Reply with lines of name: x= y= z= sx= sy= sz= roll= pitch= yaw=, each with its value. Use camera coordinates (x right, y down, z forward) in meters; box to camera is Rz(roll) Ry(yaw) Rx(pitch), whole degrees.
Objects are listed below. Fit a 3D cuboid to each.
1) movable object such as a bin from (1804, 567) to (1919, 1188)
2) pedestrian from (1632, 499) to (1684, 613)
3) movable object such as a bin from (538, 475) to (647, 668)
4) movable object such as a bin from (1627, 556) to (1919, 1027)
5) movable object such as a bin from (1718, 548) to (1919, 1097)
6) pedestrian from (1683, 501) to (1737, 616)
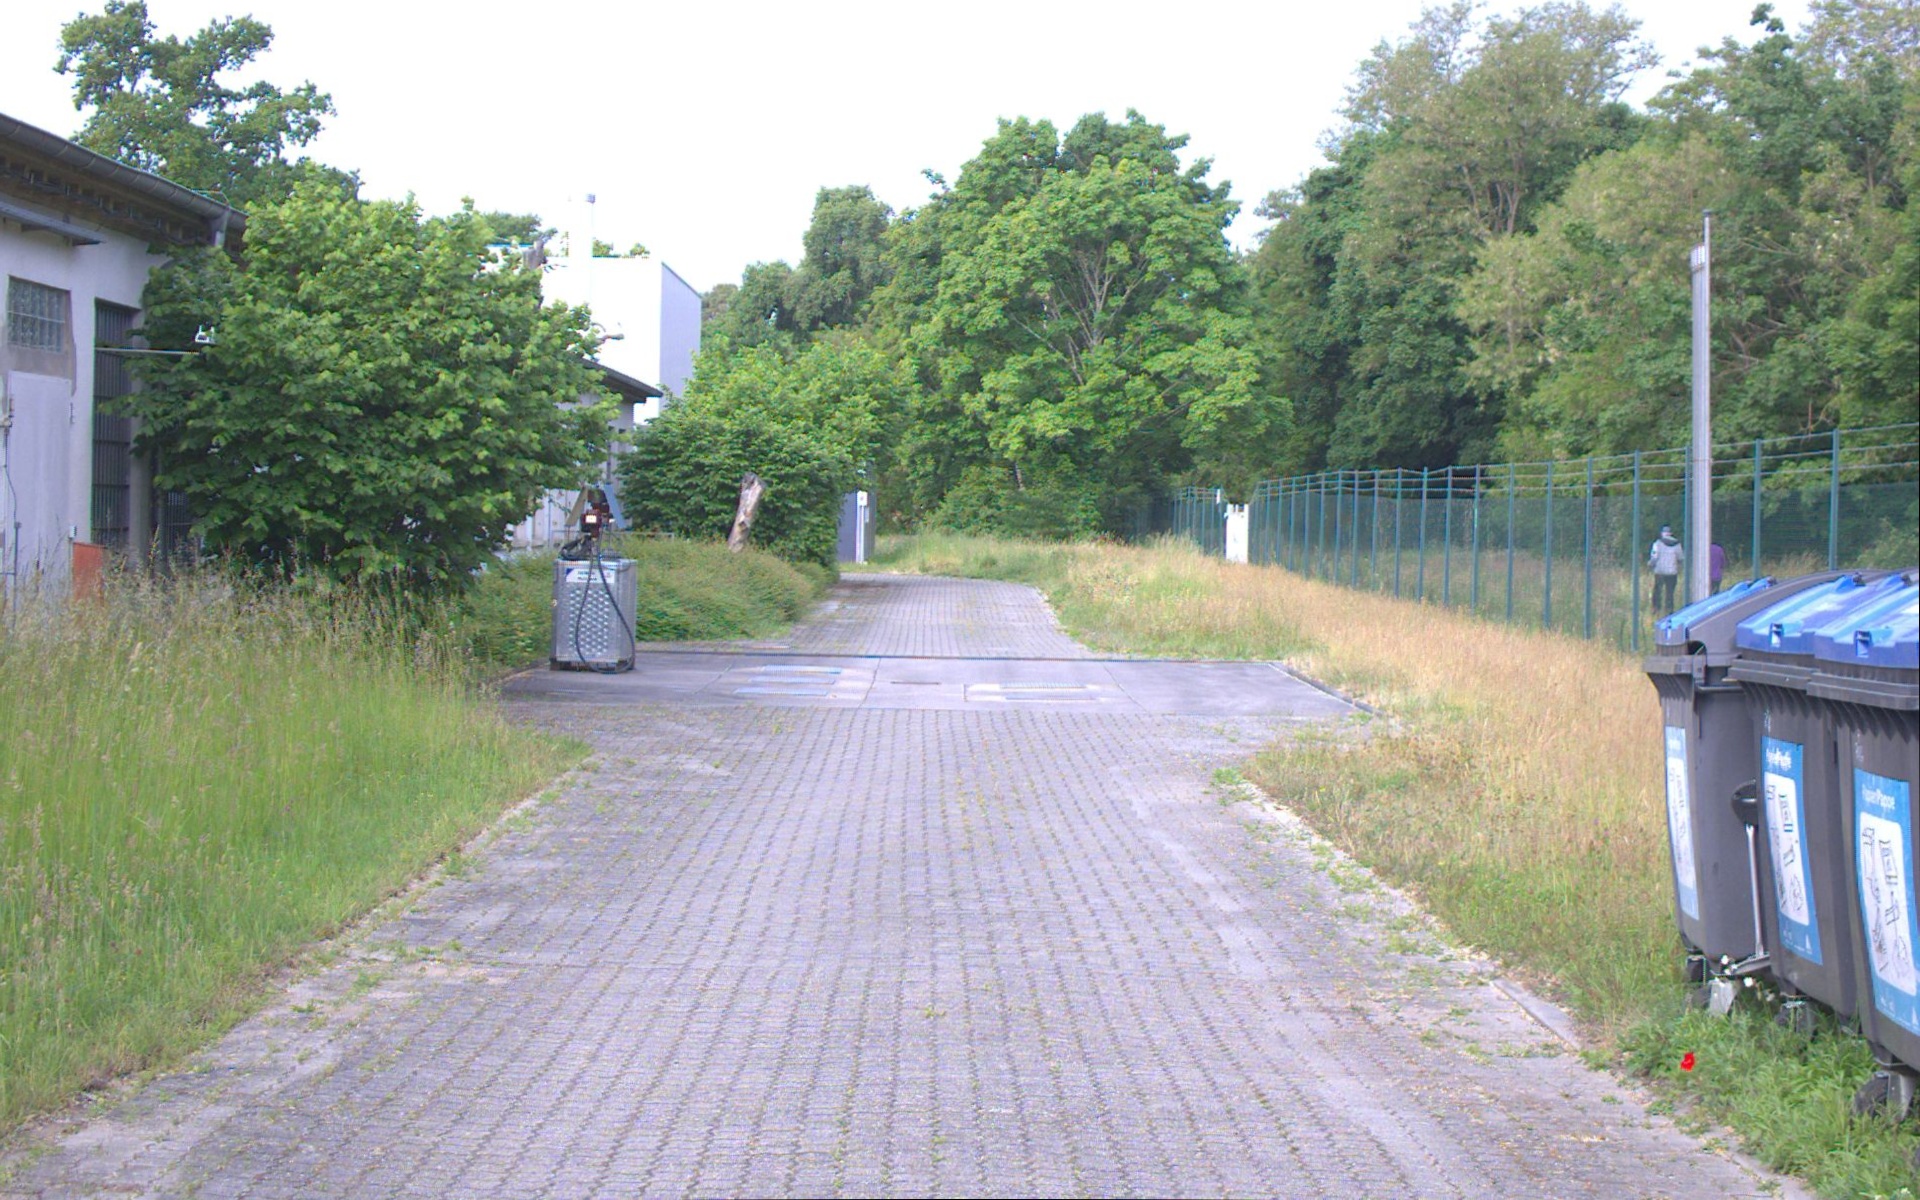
movable object such as a bin: x=2.642 y=0.599 z=7.991 sx=1.123 sy=1.317 sz=1.325 roll=1 pitch=1 yaw=6
pedestrian: x=12.370 y=-0.785 z=60.935 sx=0.759 sy=2.007 sz=0.664 roll=1 pitch=1 yaw=-1
movable object such as a bin: x=-3.834 y=-0.307 z=35.903 sx=0.935 sy=1.975 sz=0.853 roll=1 pitch=1 yaw=9
movable object such as a bin: x=2.728 y=0.552 z=10.669 sx=1.123 sy=1.346 sz=1.425 roll=2 pitch=1 yaw=5
movable object such as a bin: x=2.721 y=0.564 z=9.292 sx=1.123 sy=1.374 sz=1.325 roll=2 pitch=1 yaw=5
pedestrian: x=13.174 y=-0.736 z=60.433 sx=0.759 sy=2.007 sz=0.664 roll=1 pitch=1 yaw=-1
